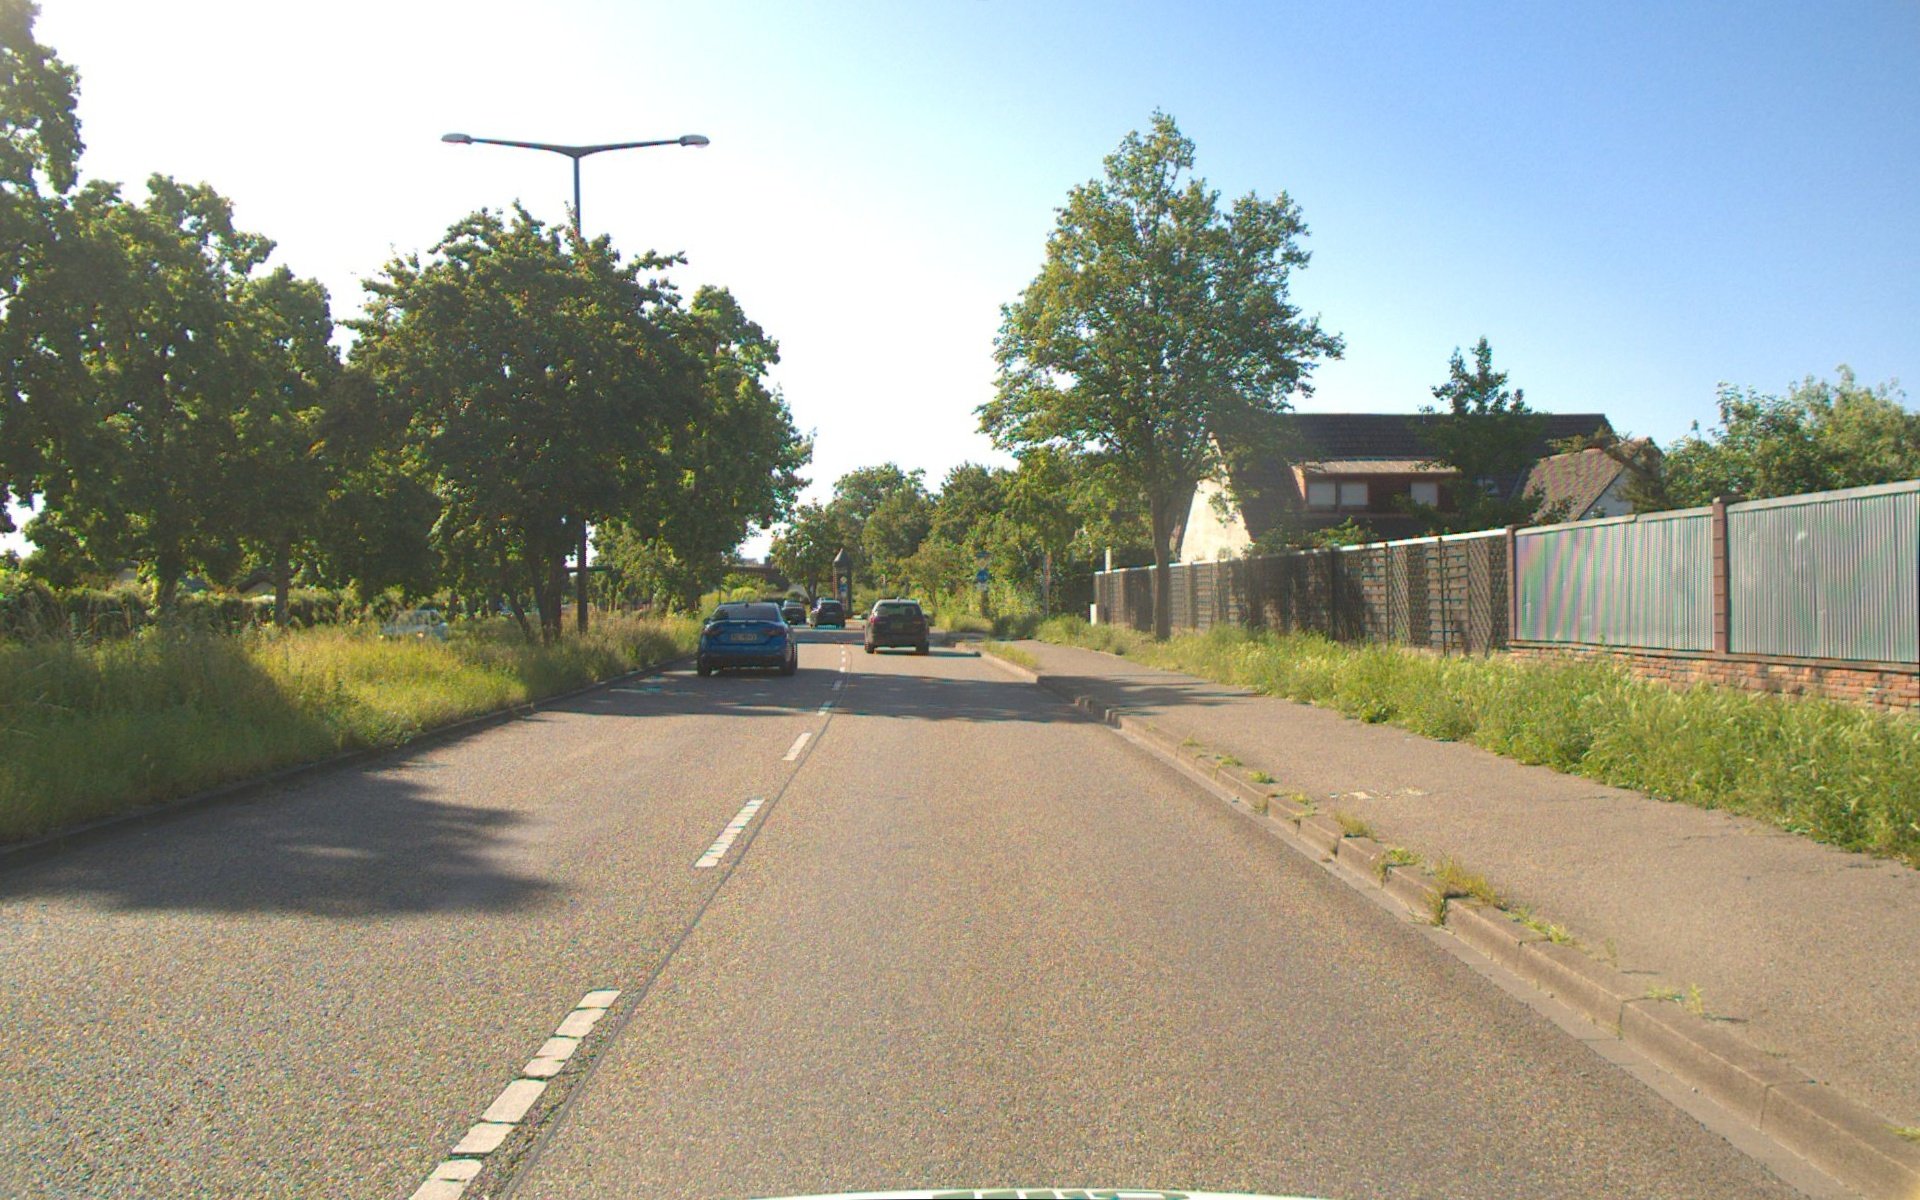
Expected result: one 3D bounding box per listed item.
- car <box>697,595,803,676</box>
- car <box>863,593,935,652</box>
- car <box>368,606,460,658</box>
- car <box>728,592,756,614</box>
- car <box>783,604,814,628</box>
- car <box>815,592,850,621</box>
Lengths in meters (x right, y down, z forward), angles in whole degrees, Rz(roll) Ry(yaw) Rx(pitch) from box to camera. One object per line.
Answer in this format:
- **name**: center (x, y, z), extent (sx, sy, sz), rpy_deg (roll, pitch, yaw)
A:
- **car**: center (-4.146, 0.684, 33.180), extent (1.802, 1.500, 4.181), rpy_deg (-1, 0, -3)
- **car**: center (-1.781, 0.599, 47.177), extent (1.878, 1.607, 4.178), rpy_deg (0, 0, -5)
- **car**: center (-17.471, 0.991, 53.093), extent (1.637, 1.493, 4.177), rpy_deg (-3, 0, -3)
- **car**: center (-15.278, 0.204, 115.799), extent (1.879, 1.538, 4.060), rpy_deg (-1, 0, -8)
- **car**: center (-11.584, 1.126, 118.616), extent (1.880, 1.707, 4.003), rpy_deg (0, 0, -10)
- **car**: center (-7.320, 0.371, 94.798), extent (1.879, 1.607, 4.176), rpy_deg (0, 0, -7)
